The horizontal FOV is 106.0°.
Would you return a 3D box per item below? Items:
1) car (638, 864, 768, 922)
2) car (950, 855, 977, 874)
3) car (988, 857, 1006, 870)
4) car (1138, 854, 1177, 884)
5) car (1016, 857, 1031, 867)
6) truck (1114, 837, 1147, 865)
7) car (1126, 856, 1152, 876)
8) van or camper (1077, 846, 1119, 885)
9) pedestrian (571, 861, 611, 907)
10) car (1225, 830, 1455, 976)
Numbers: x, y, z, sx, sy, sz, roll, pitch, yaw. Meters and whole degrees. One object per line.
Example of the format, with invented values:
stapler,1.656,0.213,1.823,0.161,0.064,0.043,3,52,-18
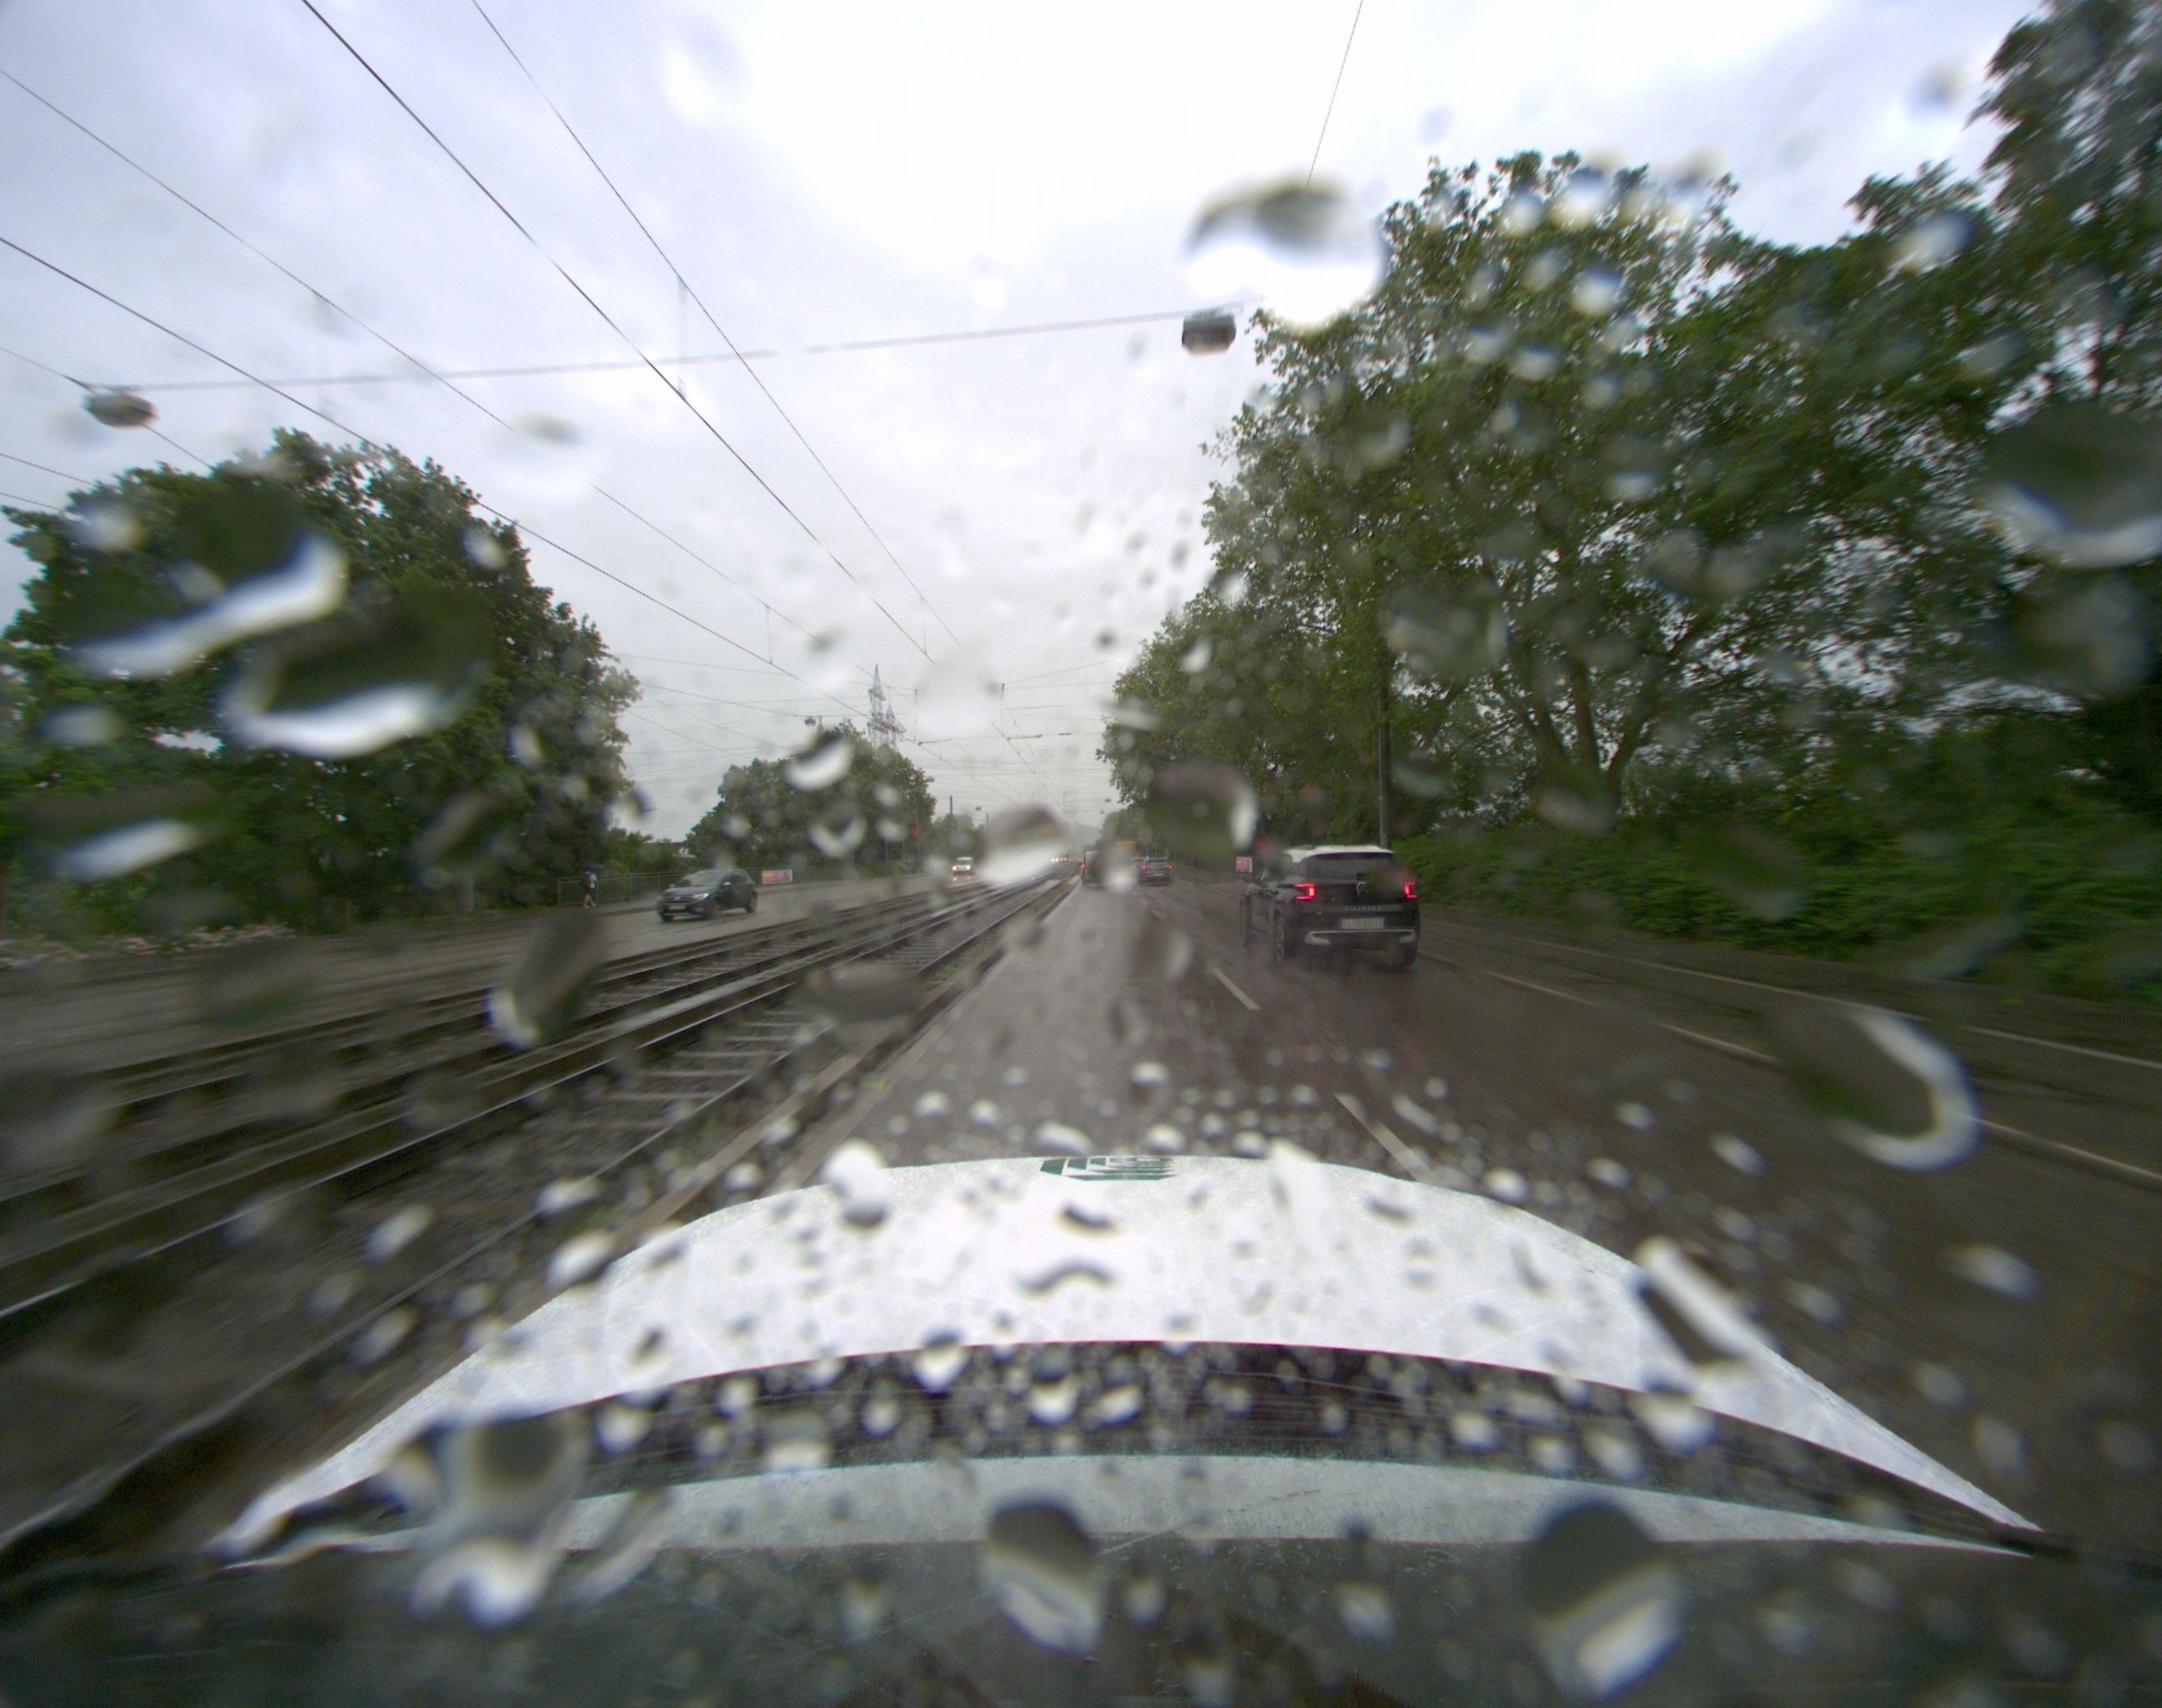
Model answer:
car,-12.090,1.190,26.389,1.985,1.618,4.257,-2,0,3
car,-11.895,1.056,82.705,1.987,1.816,4.660,-1,0,1
car,-12.369,1.333,120.413,1.985,1.816,4.003,-1,0,2
car,3.929,0.755,42.345,1.811,1.414,3.780,0,1,2
car,-8.586,1.154,121.507,1.650,1.486,4.015,-1,0,3
truck,5.062,-0.346,84.387,3.102,2.773,6.330,-1,0,1
car,4.387,0.895,61.931,1.811,1.414,3.780,0,1,2
van or camper,0.801,0.540,41.060,1.988,1.784,3.998,0,1,-1
pedestrian,-19.516,1.166,32.464,0.848,1.759,1.121,-2,0,1
car,3.499,0.544,12.026,1.893,1.716,4.725,0,1,0
